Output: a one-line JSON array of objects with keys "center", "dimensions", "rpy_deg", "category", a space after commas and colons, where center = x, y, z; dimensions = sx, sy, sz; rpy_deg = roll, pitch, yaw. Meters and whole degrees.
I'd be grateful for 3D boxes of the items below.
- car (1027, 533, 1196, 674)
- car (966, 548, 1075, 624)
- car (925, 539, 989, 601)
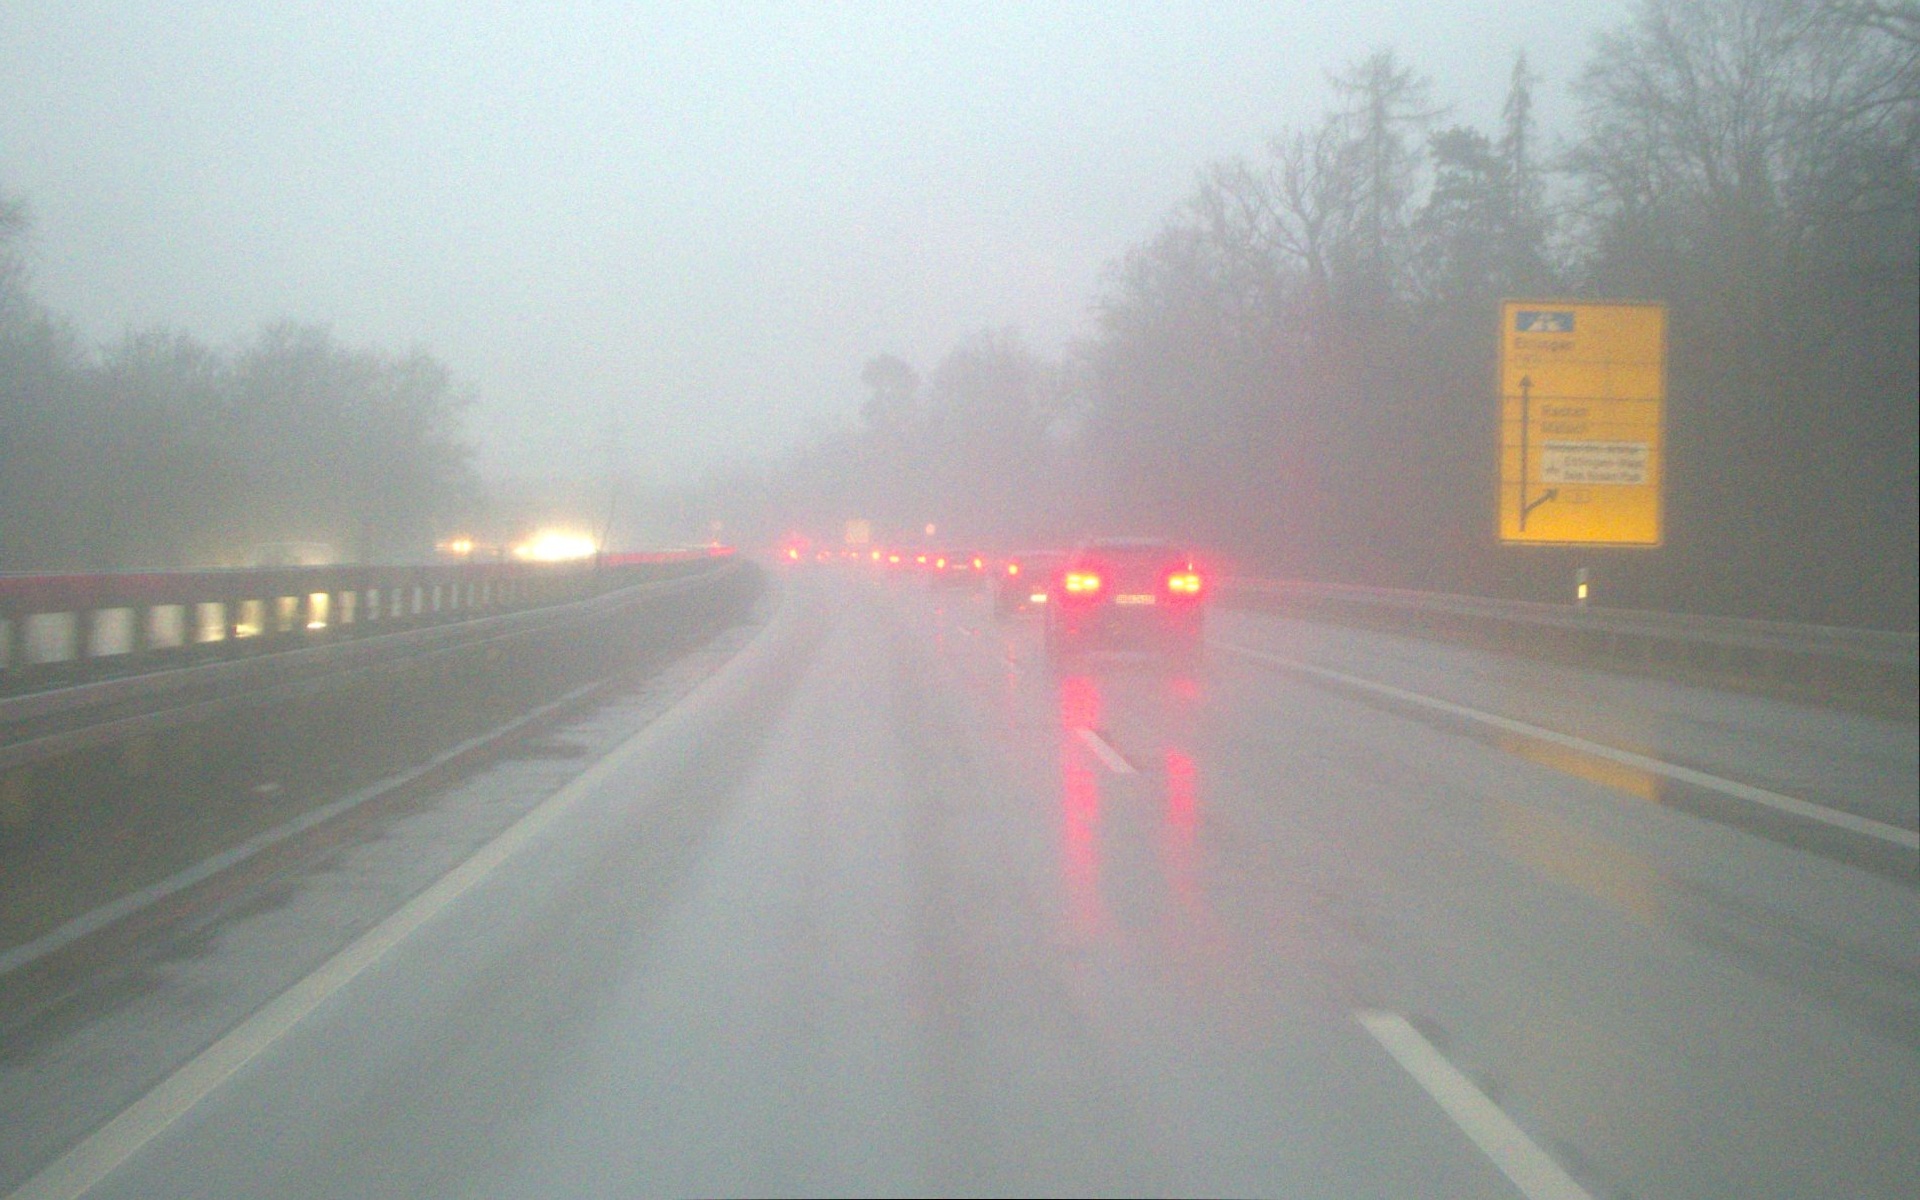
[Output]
[{"center": [1.905, 0.028, 44.291], "dimensions": [1.992, 1.709, 3.830], "rpy_deg": [1, 0, 0], "category": "car"}, {"center": [1.209, -0.288, 70.066], "dimensions": [1.993, 1.415, 4.000], "rpy_deg": [2, 0, -1], "category": "car"}, {"center": [-0.112, -0.994, 114.540], "dimensions": [1.993, 2.007, 4.000], "rpy_deg": [1, 0, -2], "category": "car"}]
